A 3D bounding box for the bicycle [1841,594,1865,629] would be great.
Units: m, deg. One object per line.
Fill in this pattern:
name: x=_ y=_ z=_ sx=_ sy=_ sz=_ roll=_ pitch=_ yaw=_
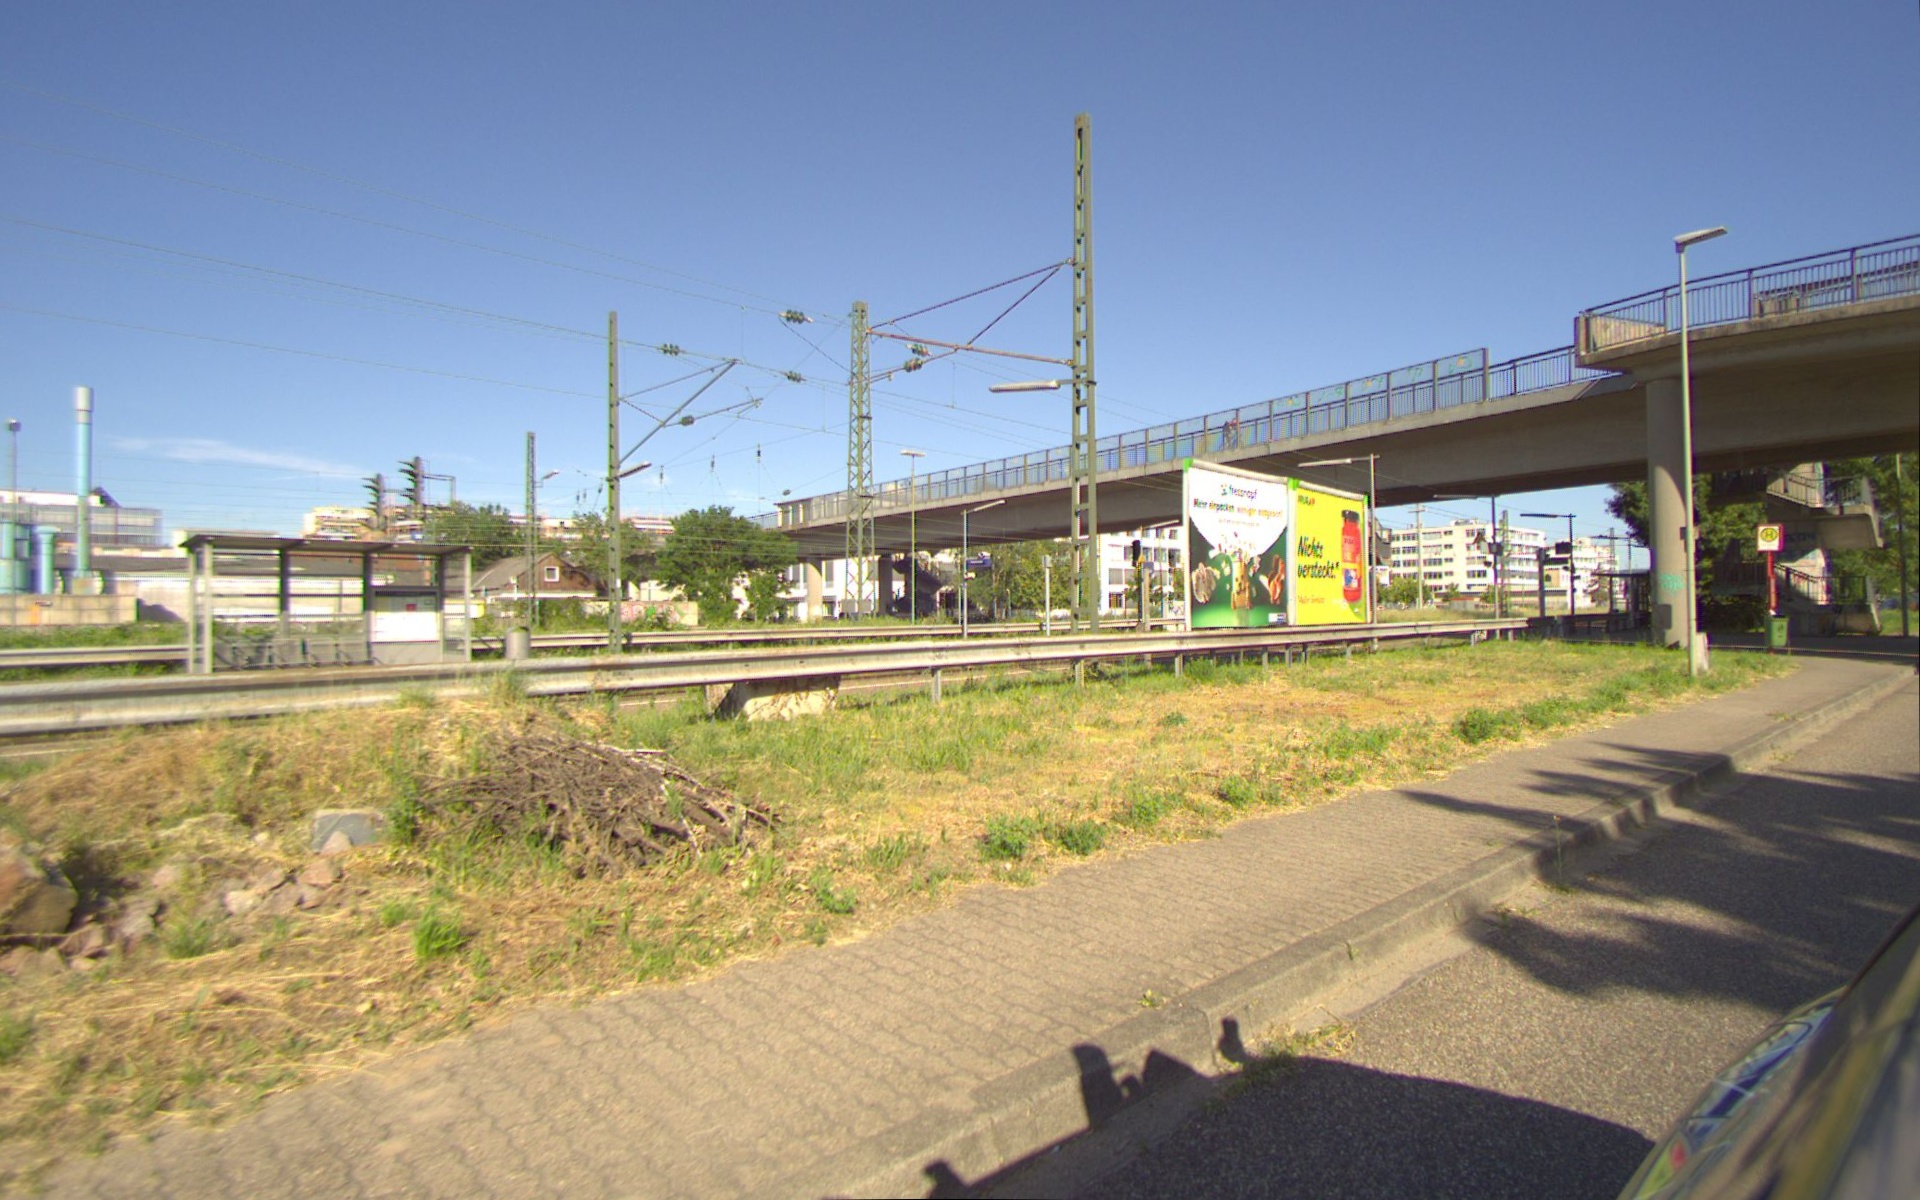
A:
bicycle: x=31.385 y=0.386 z=35.543 sx=0.596 sy=1.197 sz=2.148 roll=-1 pitch=0 yaw=42
